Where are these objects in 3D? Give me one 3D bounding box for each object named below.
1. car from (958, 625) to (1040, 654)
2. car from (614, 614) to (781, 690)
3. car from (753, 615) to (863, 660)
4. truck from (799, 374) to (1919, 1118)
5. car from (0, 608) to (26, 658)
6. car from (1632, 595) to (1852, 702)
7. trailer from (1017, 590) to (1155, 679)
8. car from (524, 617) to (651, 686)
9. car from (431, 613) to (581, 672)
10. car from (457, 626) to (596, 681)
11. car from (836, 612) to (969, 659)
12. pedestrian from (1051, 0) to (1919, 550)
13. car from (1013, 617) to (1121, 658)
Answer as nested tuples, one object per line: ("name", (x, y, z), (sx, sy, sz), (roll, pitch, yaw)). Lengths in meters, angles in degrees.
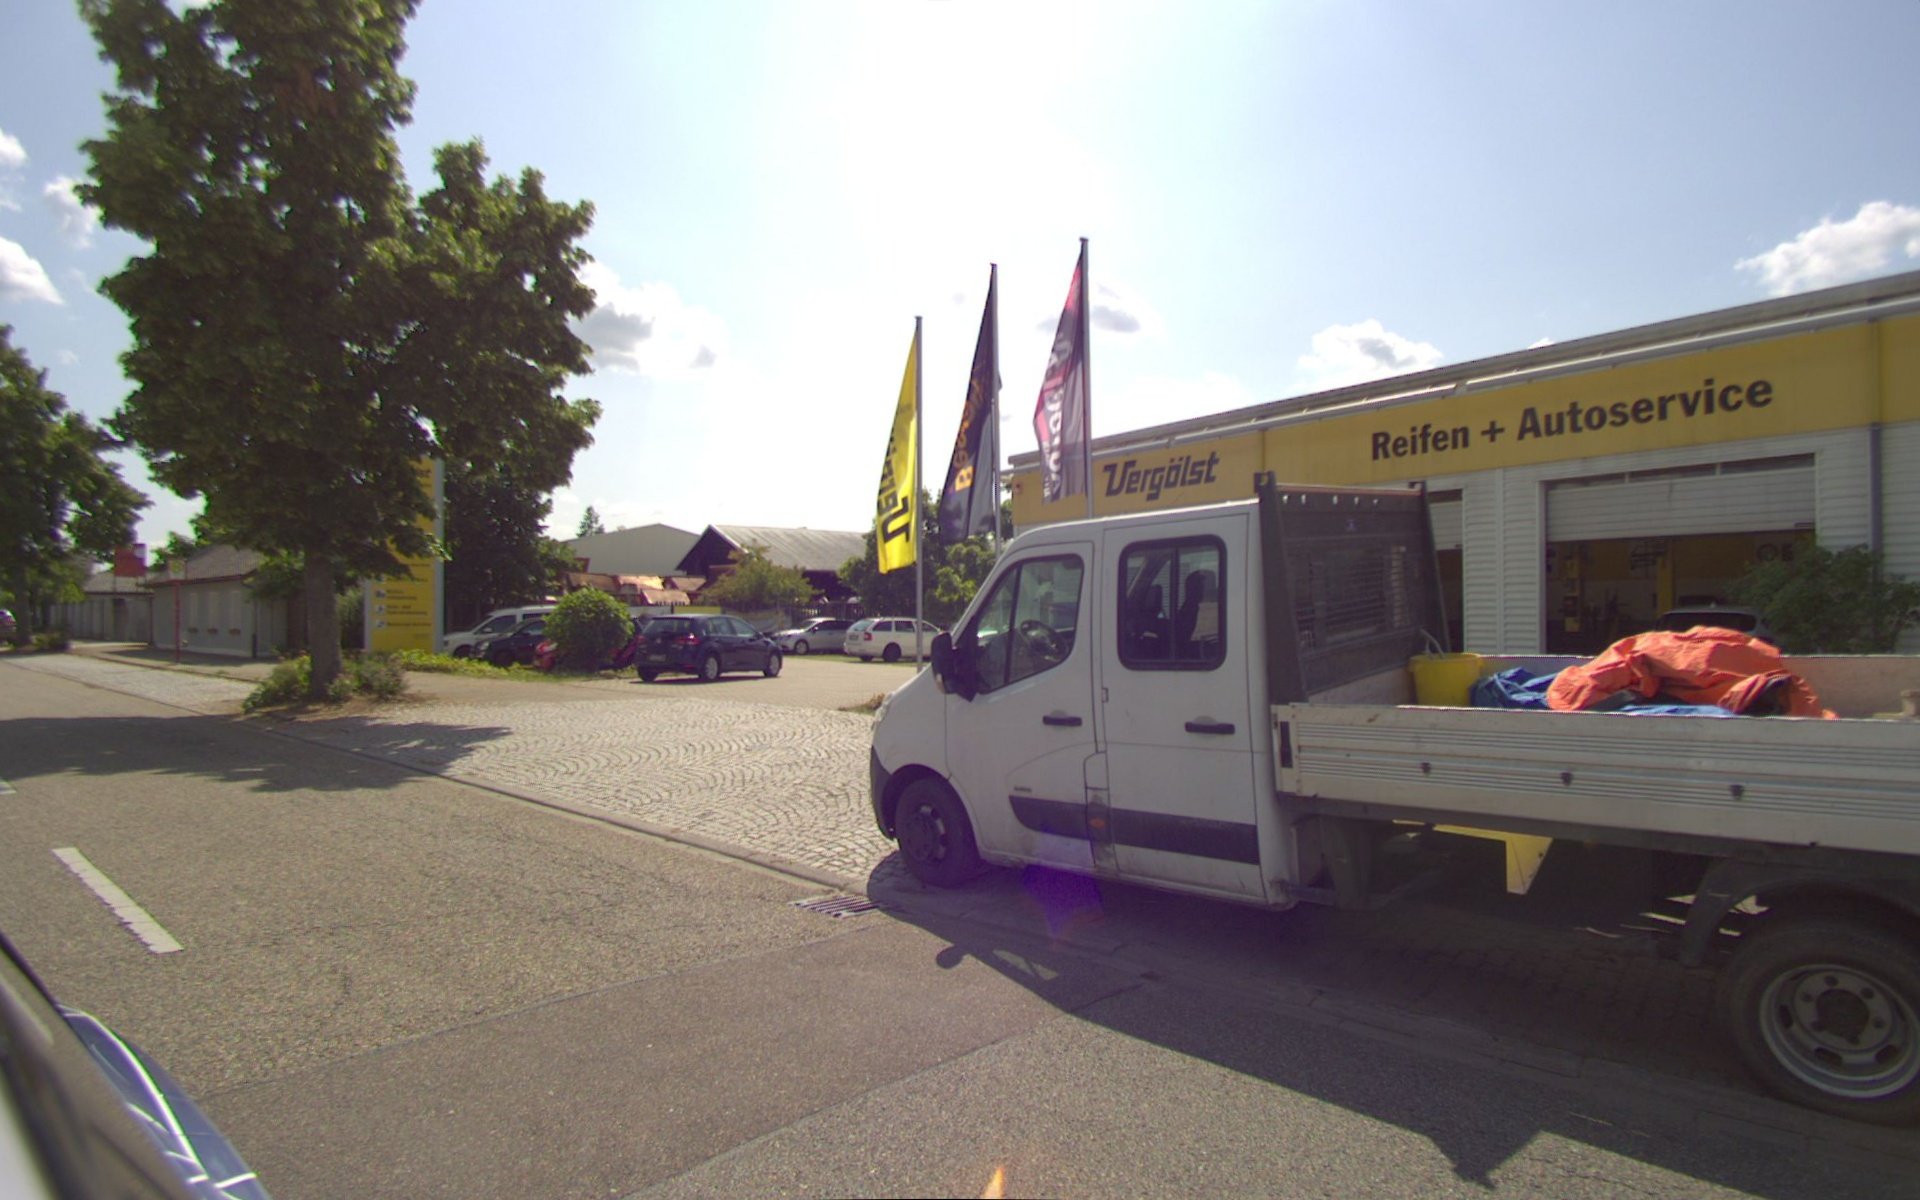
("car", (1.623, 1.610, 41.832), (3.291, 1.008, 1.341), (-2, 0, -39))
("car", (-5.676, 1.078, 22.382), (1.845, 1.424, 3.822), (-1, 0, 18))
("car", (-5.919, 1.425, 39.621), (3.940, 1.622, 1.851), (0, -1, -44))
("truck", (2.323, 0.436, 5.060), (7.350, 2.255, 2.105), (-1, 1, 44))
("car", (-46.532, 1.572, 48.810), (1.968, 2.320, 4.007), (0, -1, -39))
("car", (12.048, 0.677, 15.549), (3.525, 1.448, 1.794), (0, -1, -37))
("trailer", (2.570, 0.667, 21.192), (1.249, 1.705, 2.978), (-1, 0, -32))
("car", (-9.345, 1.249, 25.398), (2.736, 1.556, 1.596), (-1, 0, -30))
("car", (-14.297, 1.285, 32.003), (4.035, 1.726, 1.682), (0, -1, -41))
("car", (-12.521, 1.501, 29.314), (3.498, 1.393, 1.239), (-1, 0, -36))
("car", (-1.887, 1.159, 33.995), (4.213, 1.494, 1.674), (1, -1, -35))
("pedestrian", (2.576, -1.320, 4.262), (3.999, 2.029, 1.972), (0, 0, 42))
("car", (4.106, 1.381, 38.450), (3.940, 1.458, 2.002), (0, -1, -44))
